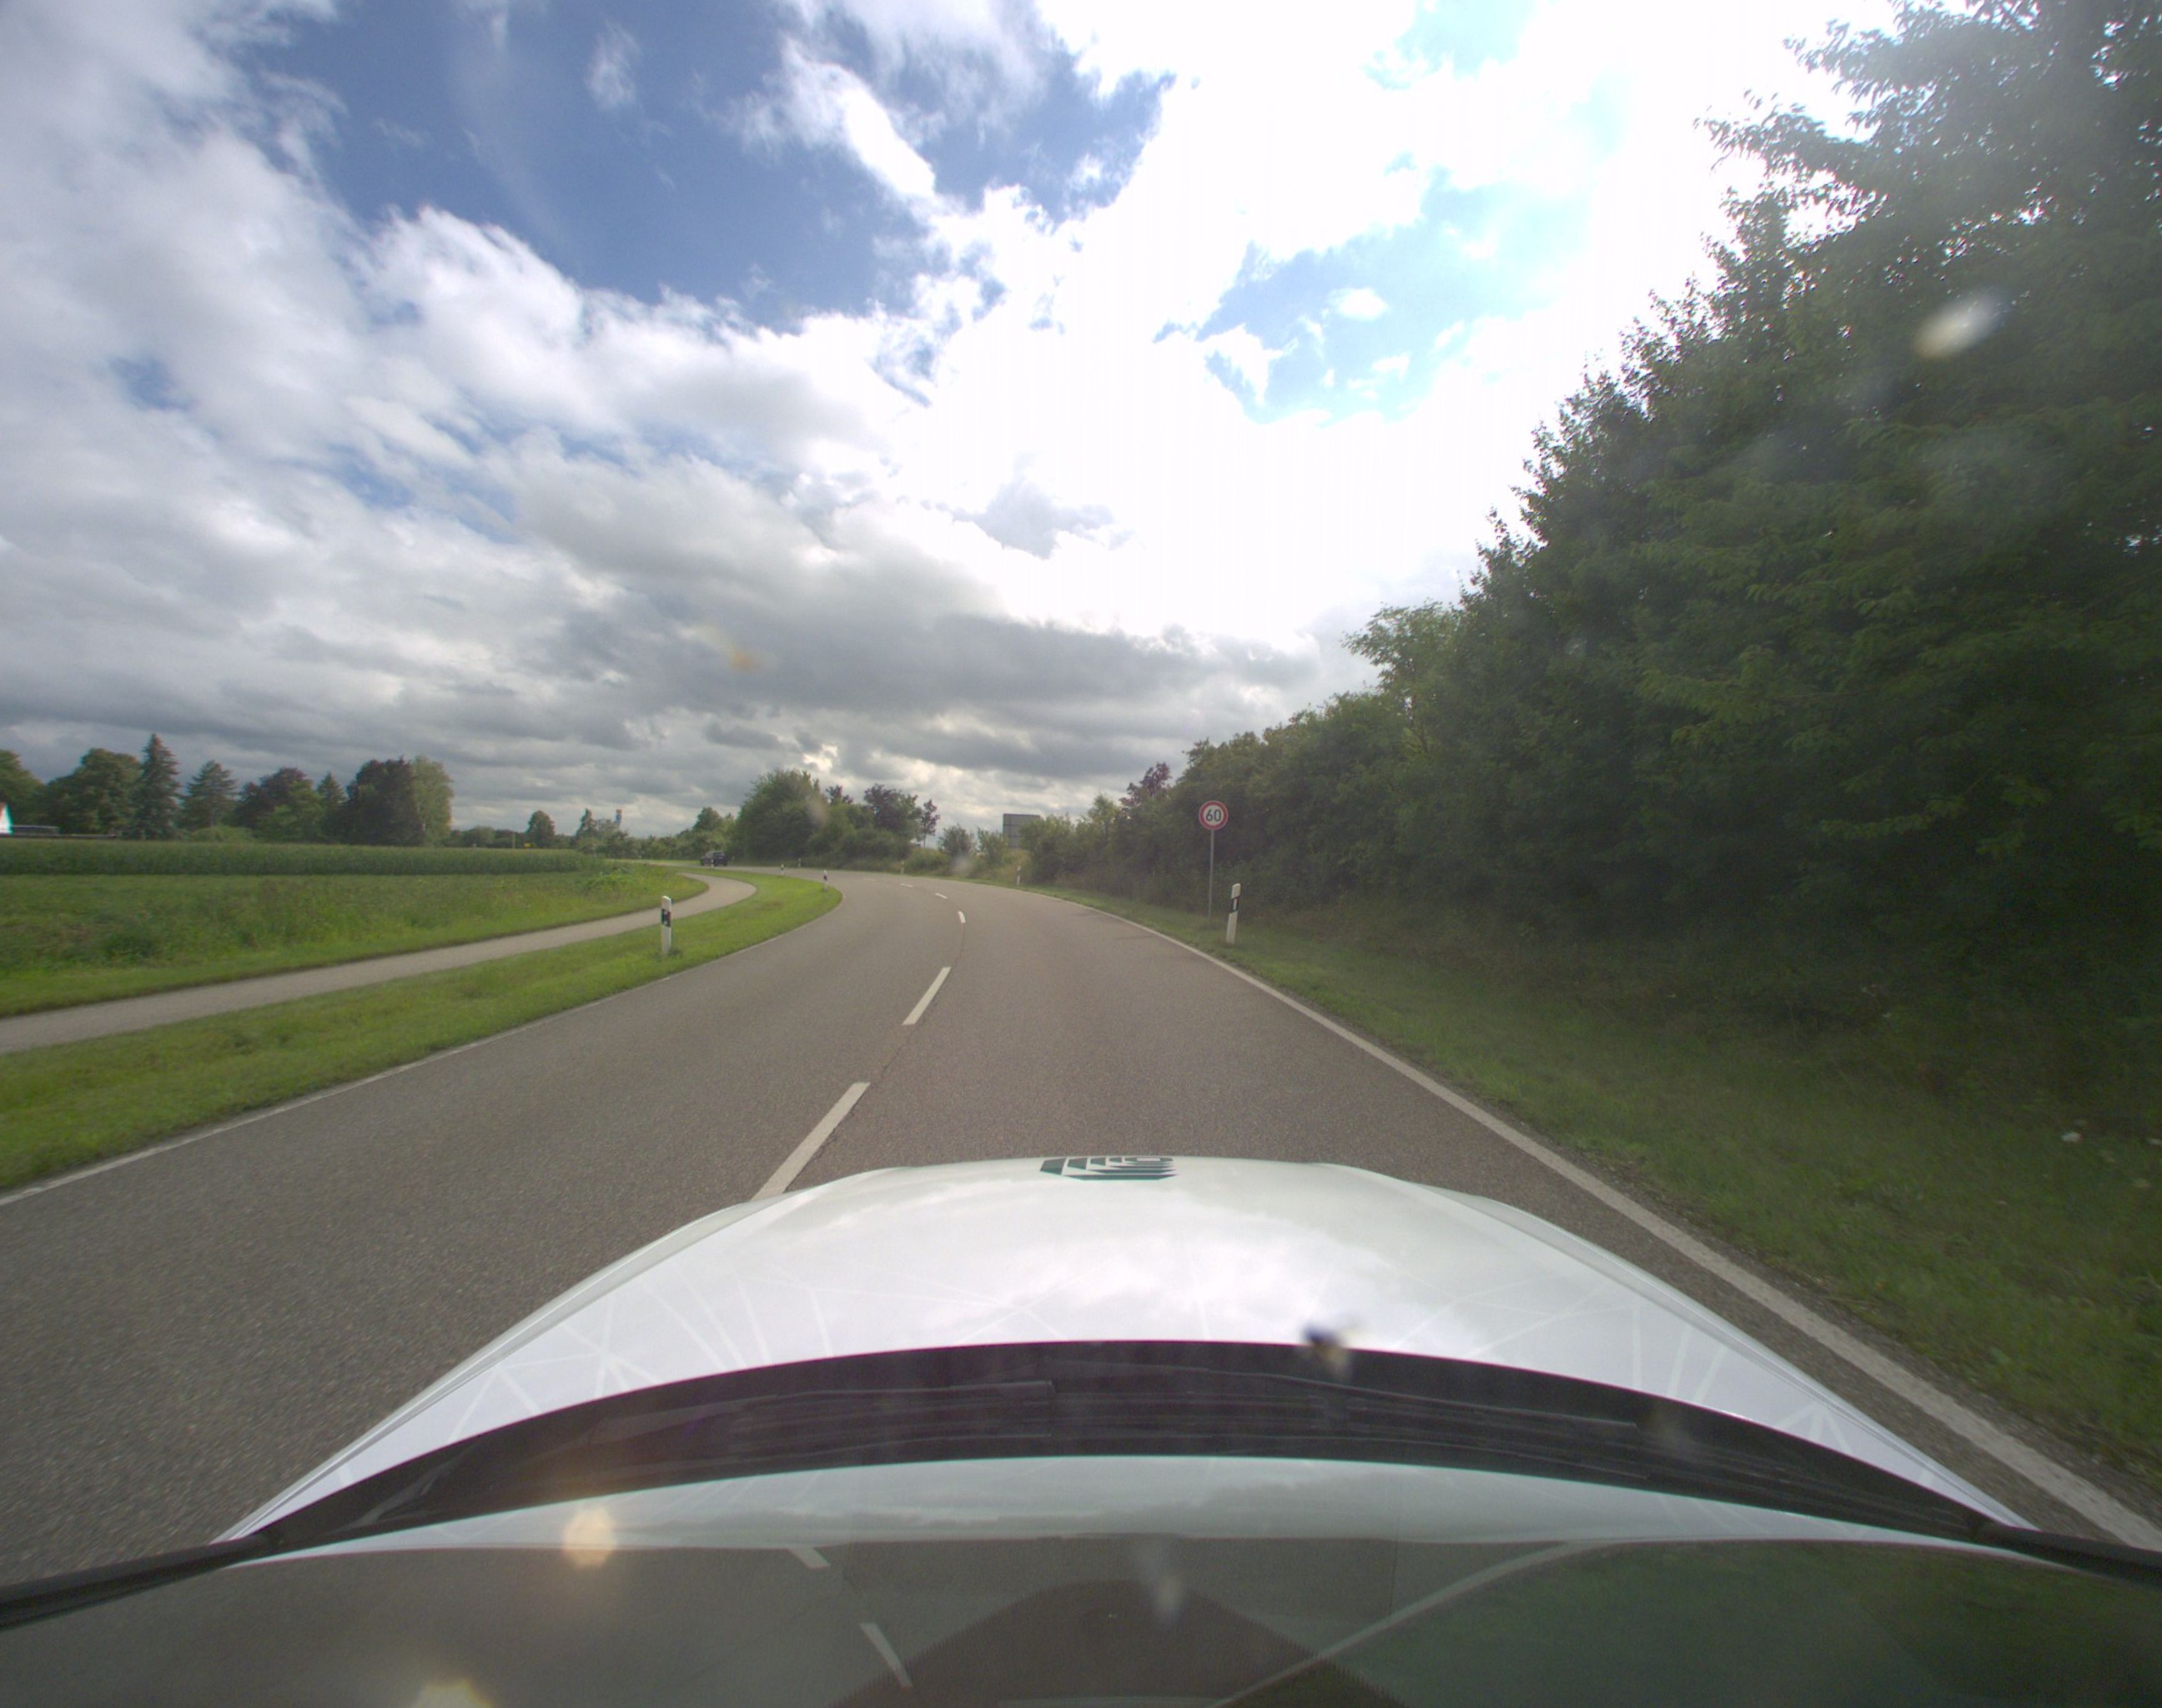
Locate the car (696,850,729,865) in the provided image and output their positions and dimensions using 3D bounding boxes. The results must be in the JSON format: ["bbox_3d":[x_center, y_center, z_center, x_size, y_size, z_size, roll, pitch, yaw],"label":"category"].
[{"bbox_3d":[-41.683,0.352,92.083,3.949,1.666,1.924,0,0,40],"label":"car"}]
